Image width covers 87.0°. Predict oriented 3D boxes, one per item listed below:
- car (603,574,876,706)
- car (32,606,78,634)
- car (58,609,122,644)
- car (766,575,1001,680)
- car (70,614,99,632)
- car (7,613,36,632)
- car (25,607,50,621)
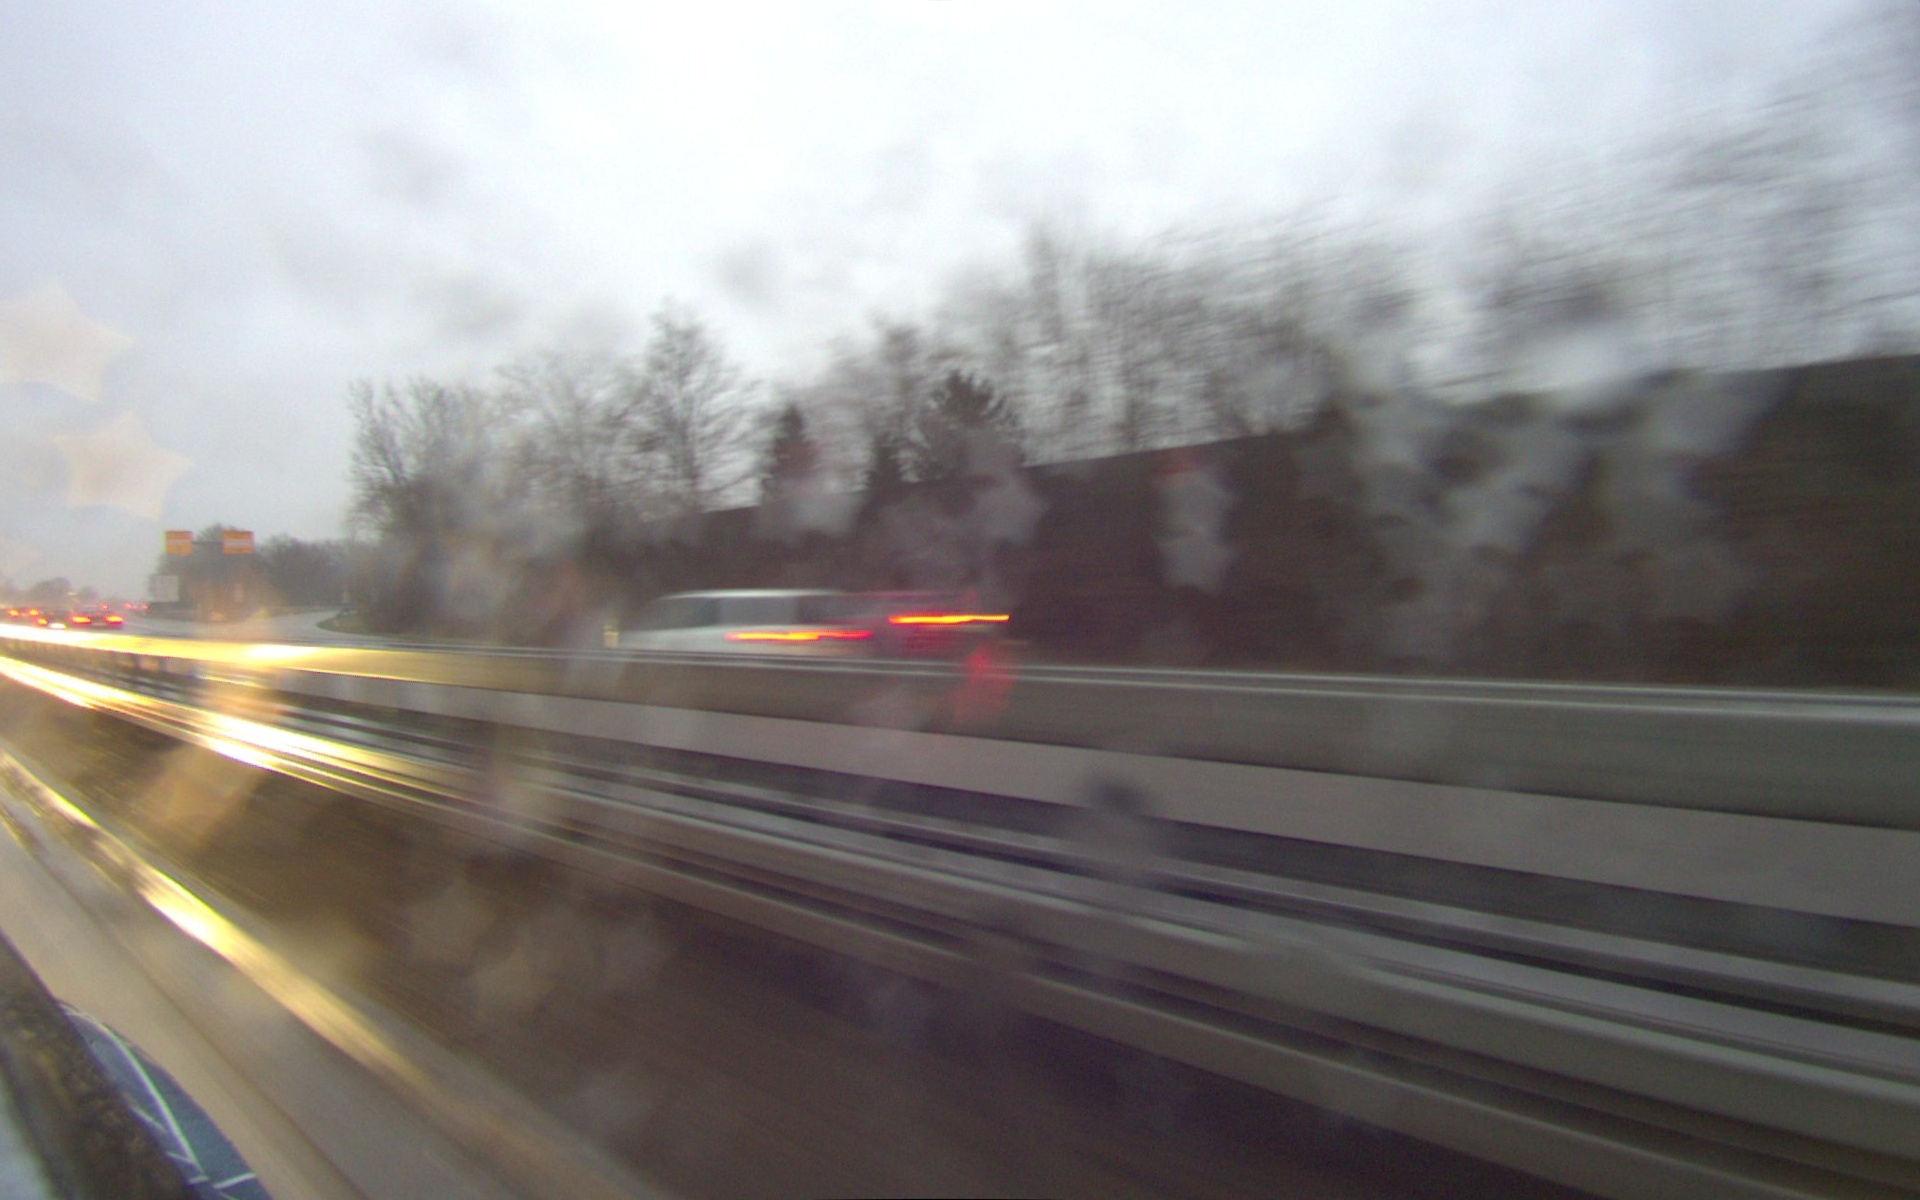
[{"bbox_3d":[-3.698,0.553,16.426,4.785,1.846,1.863,0,1,41],"label":"car"},{"bbox_3d":[-51.894,1.132,58.011,3.505,1.530,1.635,0,1,43],"label":"car"},{"bbox_3d":[-40.483,1.183,47.071,4.134,1.521,1.764,0,1,42],"label":"car"},{"bbox_3d":[-1.621,0.489,20.163,4.785,1.846,1.860,0,1,41],"label":"car"},{"bbox_3d":[-83.947,2.213,97.019,4.852,1.578,1.685,0,1,44],"label":"car"},{"bbox_3d":[-81.933,1.956,88.338,4.600,1.495,1.598,0,1,44],"label":"car"},{"bbox_3d":[-100.707,1.500,110.466,3.844,1.506,1.717,0,1,44],"label":"car"}]
